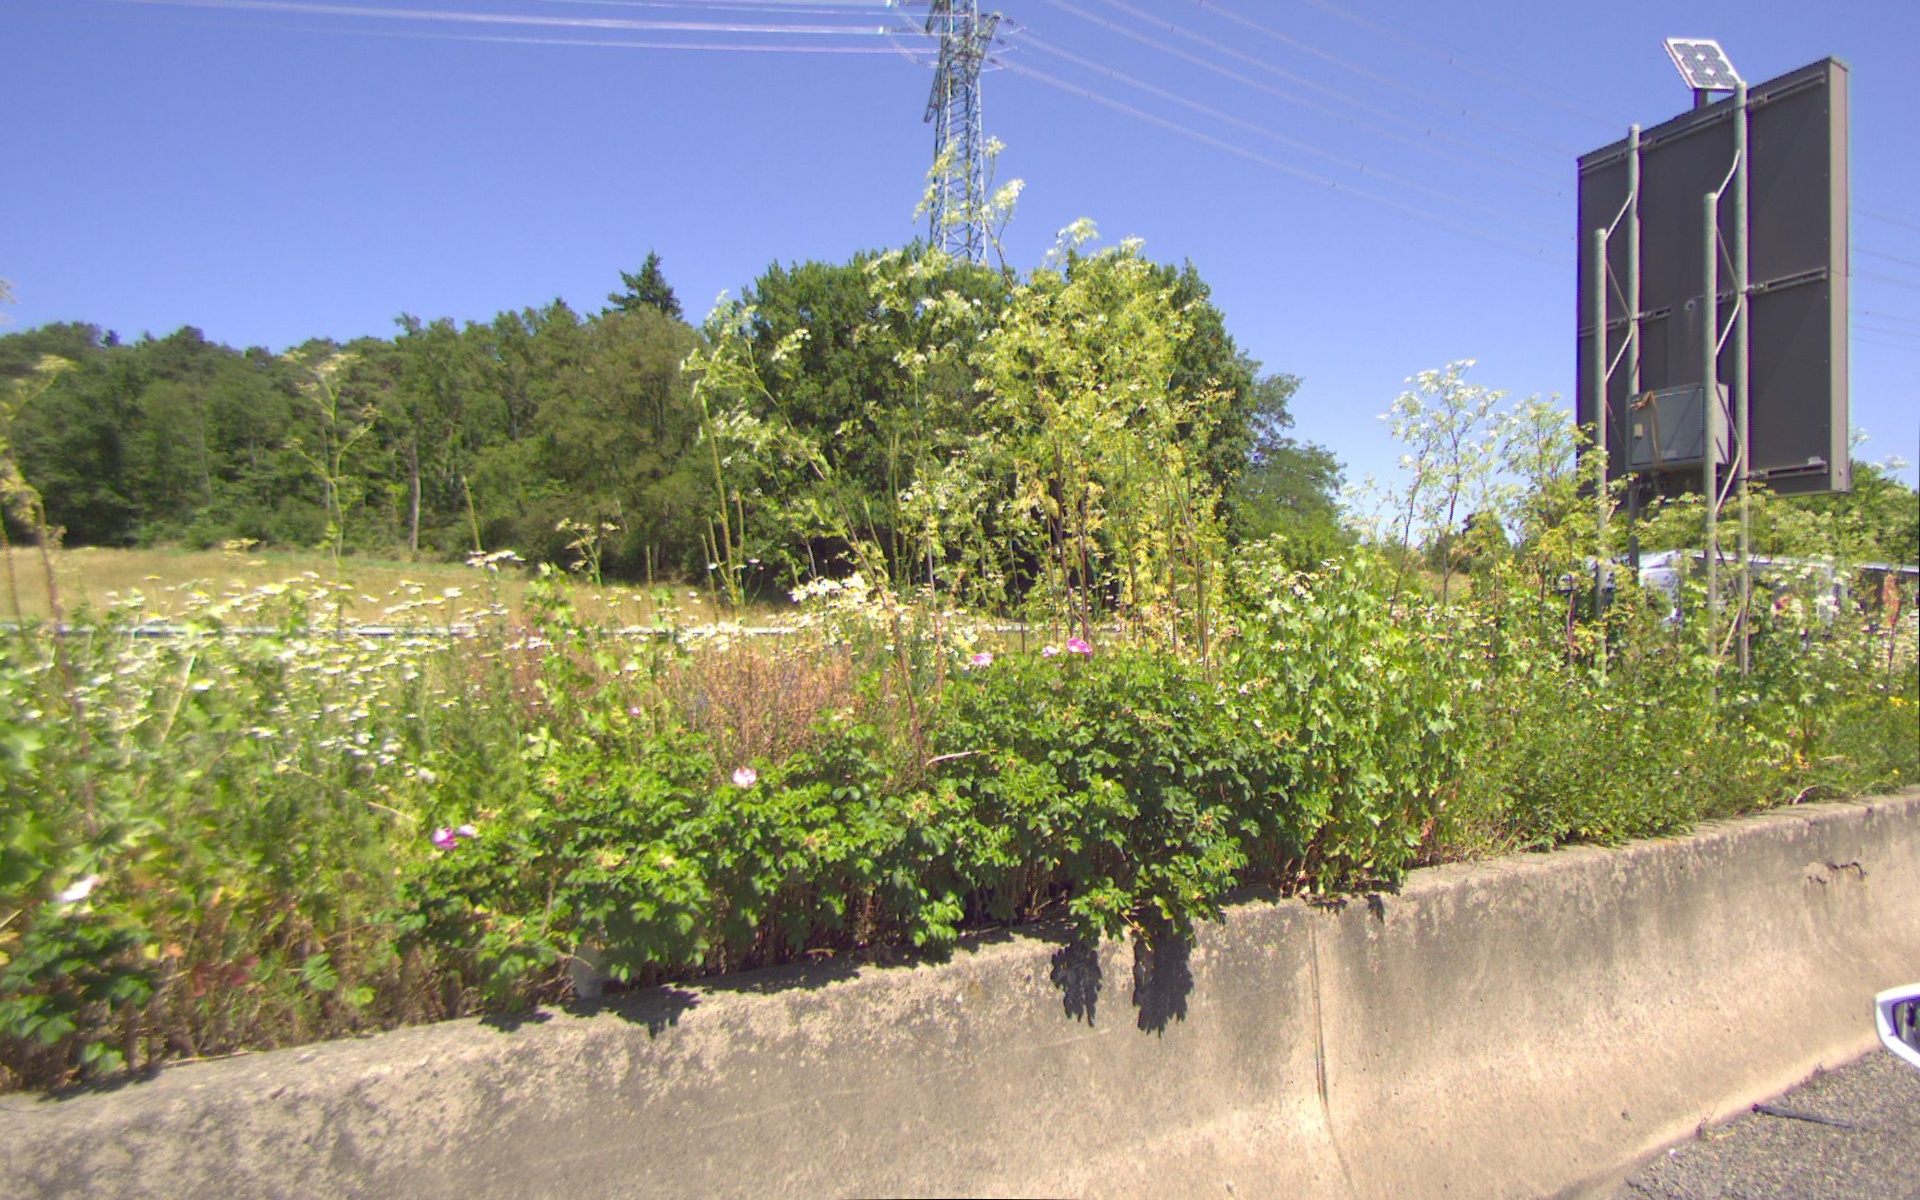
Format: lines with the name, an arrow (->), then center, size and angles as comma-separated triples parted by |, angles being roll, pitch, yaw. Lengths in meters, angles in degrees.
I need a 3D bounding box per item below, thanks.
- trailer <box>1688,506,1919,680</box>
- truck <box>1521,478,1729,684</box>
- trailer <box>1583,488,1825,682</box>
trailer -> 28.443, -0.052, 33.254 | 9.474, 5.114, 3.308 | 2, -1, -29
truck -> 18.056, -0.411, 27.334 | 3.984, 5.117, 3.288 | 1, -1, -29
trailer -> 21.894, -0.282, 29.530 | 6.623, 5.114, 3.308 | 2, -1, -29
